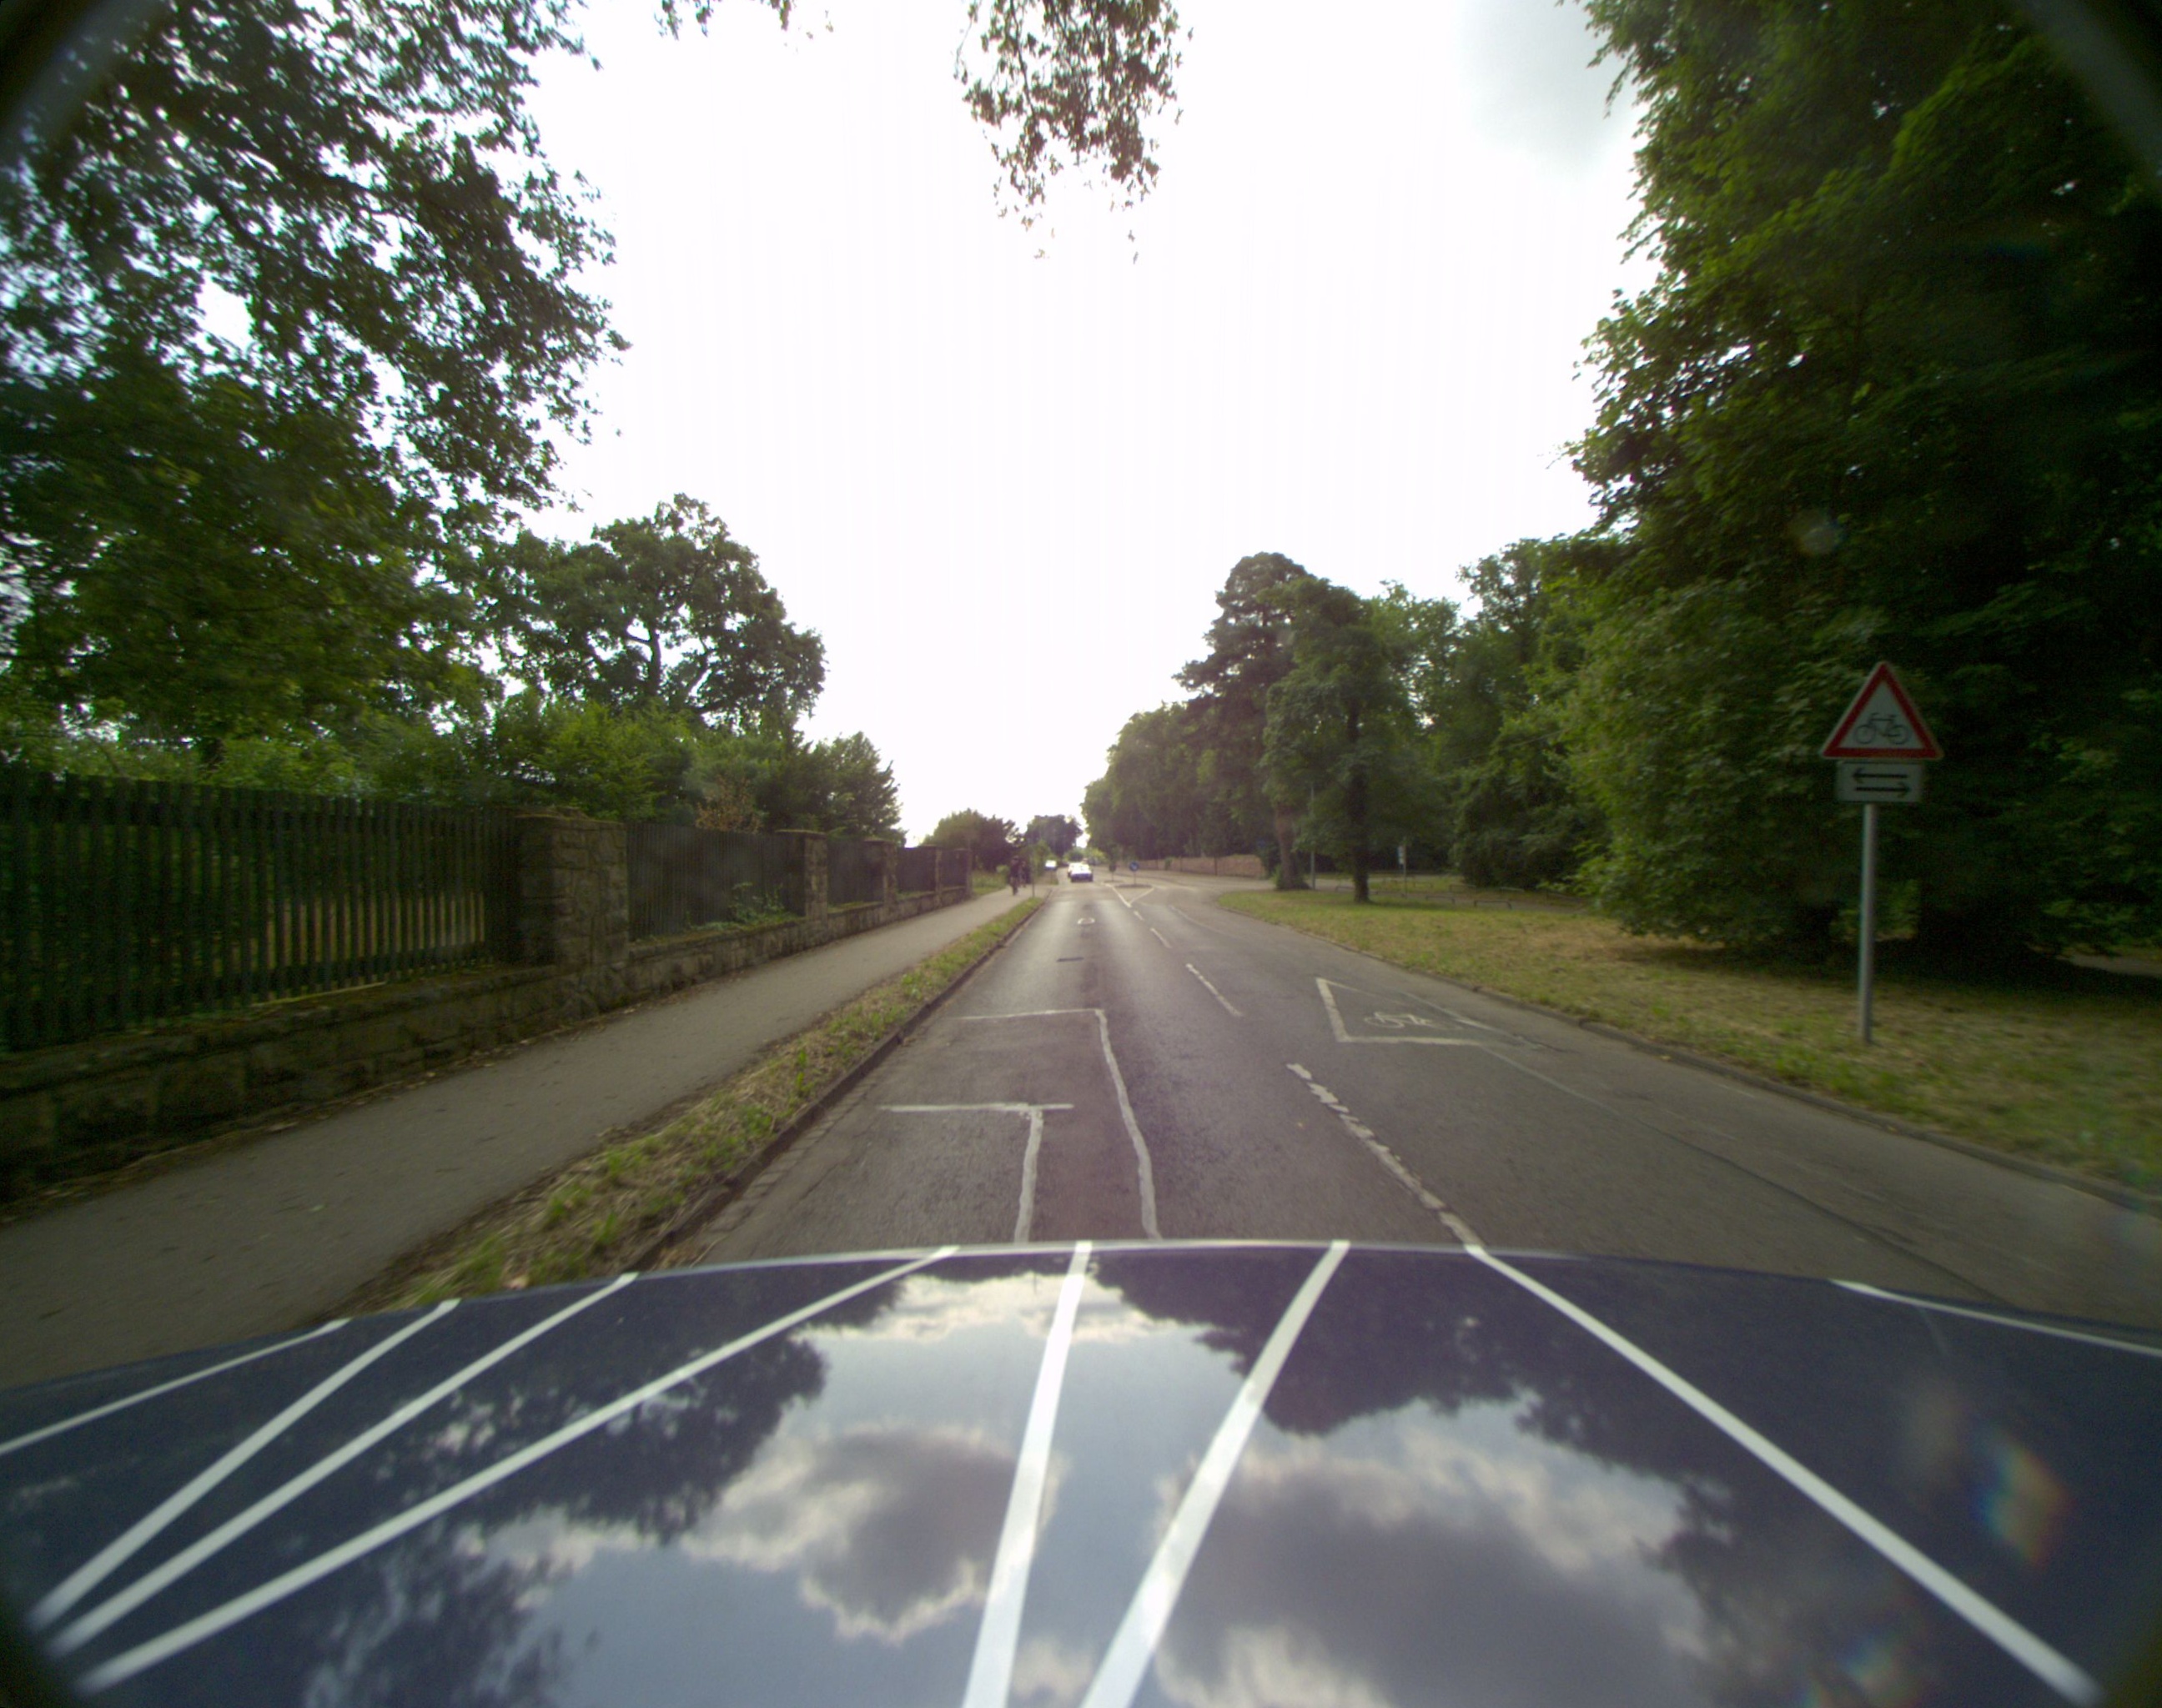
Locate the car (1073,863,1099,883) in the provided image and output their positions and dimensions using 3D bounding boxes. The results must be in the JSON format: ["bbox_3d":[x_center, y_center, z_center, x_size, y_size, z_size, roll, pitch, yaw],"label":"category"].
[{"bbox_3d":[0.408,1.605,62.833,1.965,1.455,4.530,-3,-2,-1],"label":"car"}]

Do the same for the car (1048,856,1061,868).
[{"bbox_3d":[-4.085,1.222,116.950,1.799,1.652,4.001,-3,-1,0],"label":"car"}]

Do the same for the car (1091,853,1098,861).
[{"bbox_3d":[3.941,0.954,228.203,1.999,2.220,4.375,-1,0,0],"label":"car"}]

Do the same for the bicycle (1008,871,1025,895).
[{"bbox_3d":[-3.039,1.363,35.955,0.559,1.066,2.157,0,-1,0],"label":"bicycle"}]

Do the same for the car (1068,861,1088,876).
[{"bbox_3d":[-0.351,1.502,78.057,1.966,1.455,4.530,0,-2,-2],"label":"car"}]

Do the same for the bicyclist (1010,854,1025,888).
[{"bbox_3d":[-3.008,0.790,36.010,0.571,1.578,1.206,0,0,0],"label":"bicyclist"}]

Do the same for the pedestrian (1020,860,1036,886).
[{"bbox_3d":[-3.299,1.190,47.600,0.831,1.641,0.626,0,-1,17],"label":"pedestrian"}]
